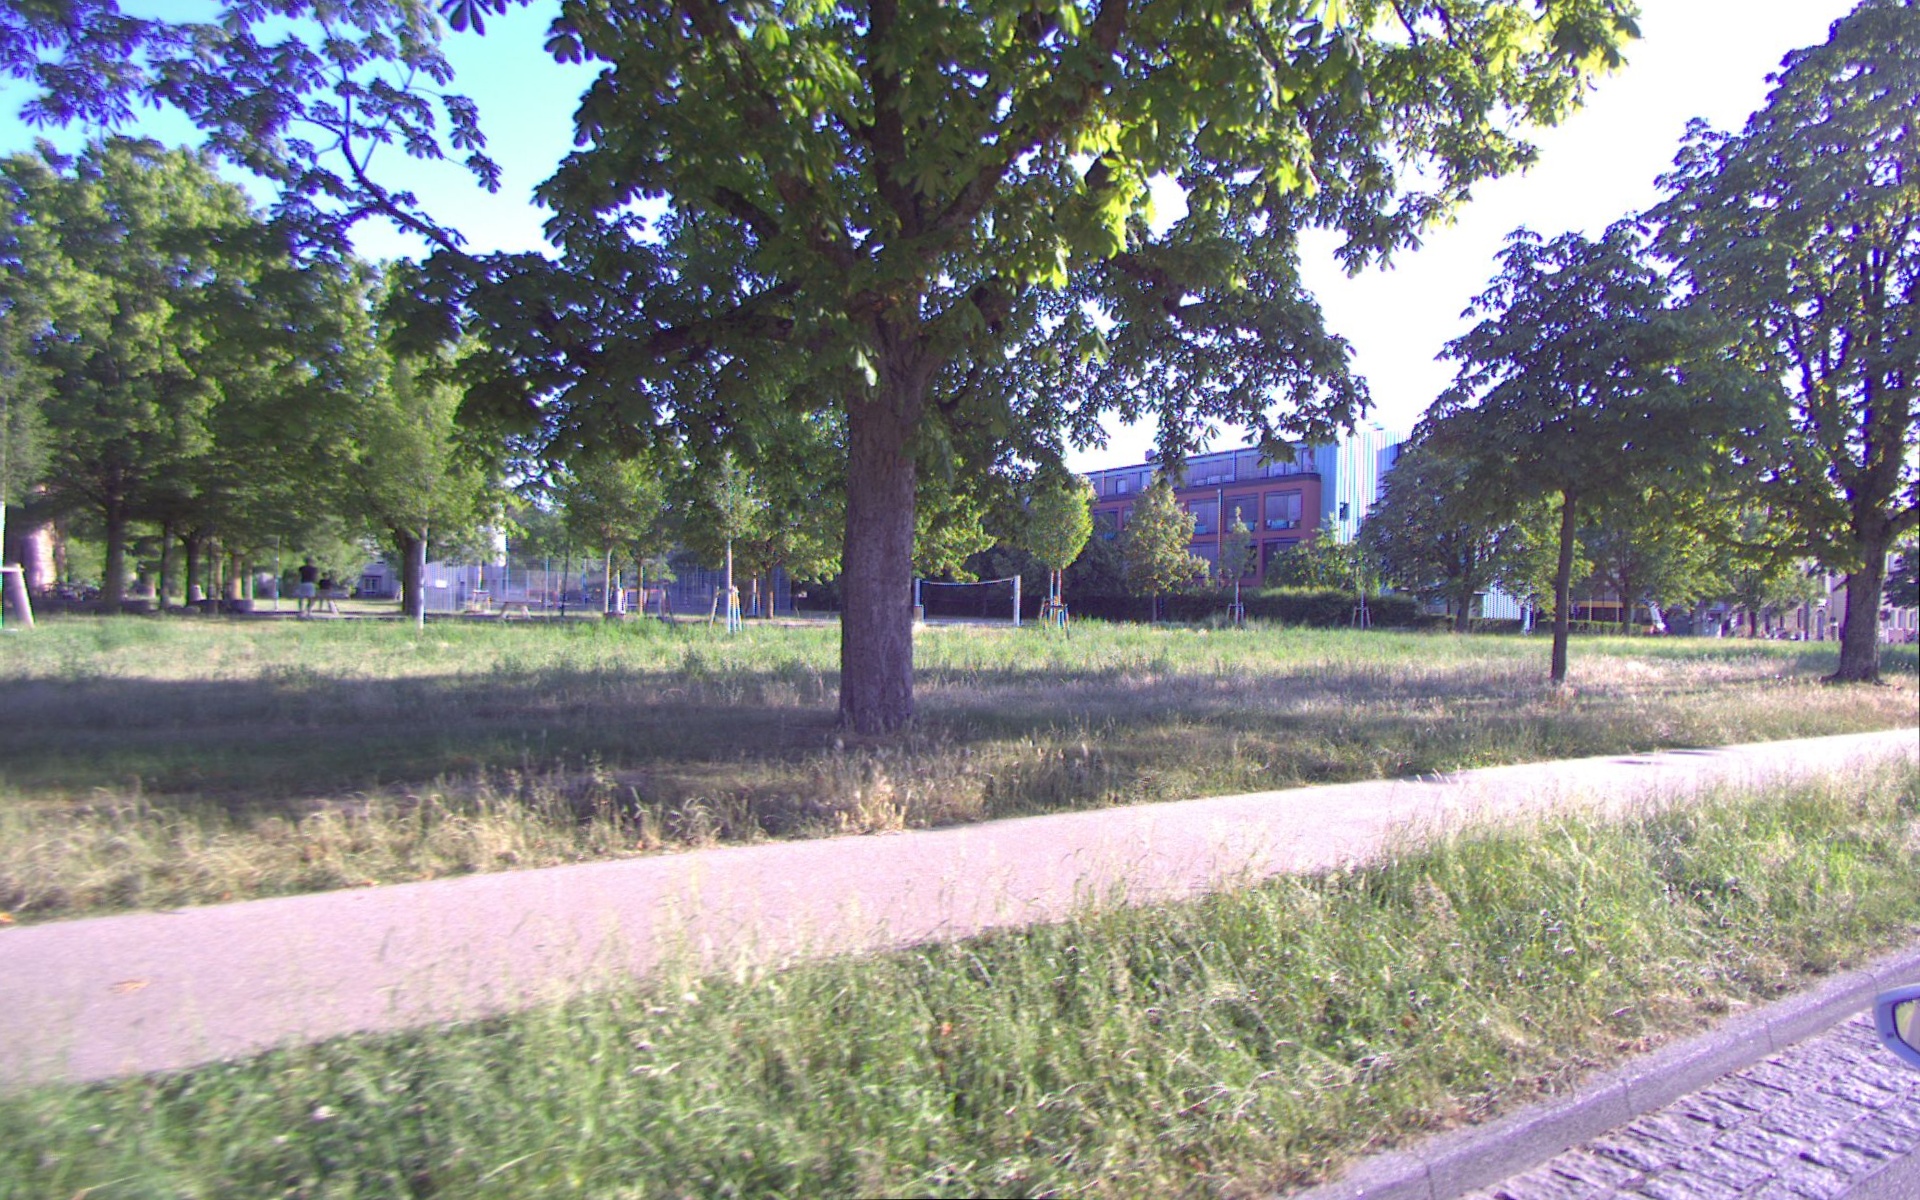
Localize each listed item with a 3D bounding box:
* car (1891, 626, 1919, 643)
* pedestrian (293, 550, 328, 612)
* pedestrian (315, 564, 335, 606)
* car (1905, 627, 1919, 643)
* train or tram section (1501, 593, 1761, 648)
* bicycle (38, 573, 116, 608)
[{"bbox_3d":[107.220,3.925,112.135,1.976,1.788,4.327,2,1,-29],"label":"car"},{"bbox_3d":[-20.646,-0.612,31.940,0.788,1.906,1.044,2,1,-28],"label":"pedestrian"},{"bbox_3d":[-22.824,-0.542,36.109,0.497,1.498,0.583,2,1,-40],"label":"pedestrian"},{"bbox_3d":[111.968,4.120,115.543,1.976,1.788,4.327,2,1,-29],"label":"car"},{"bbox_3d":[61.052,1.727,92.662,3.613,4.009,19.619,2,1,-39],"label":"train or tram section"},{"bbox_3d":[-34.310,-0.352,39.062,2.123,1.287,0.681,2,1,-29],"label":"bicycle"}]
